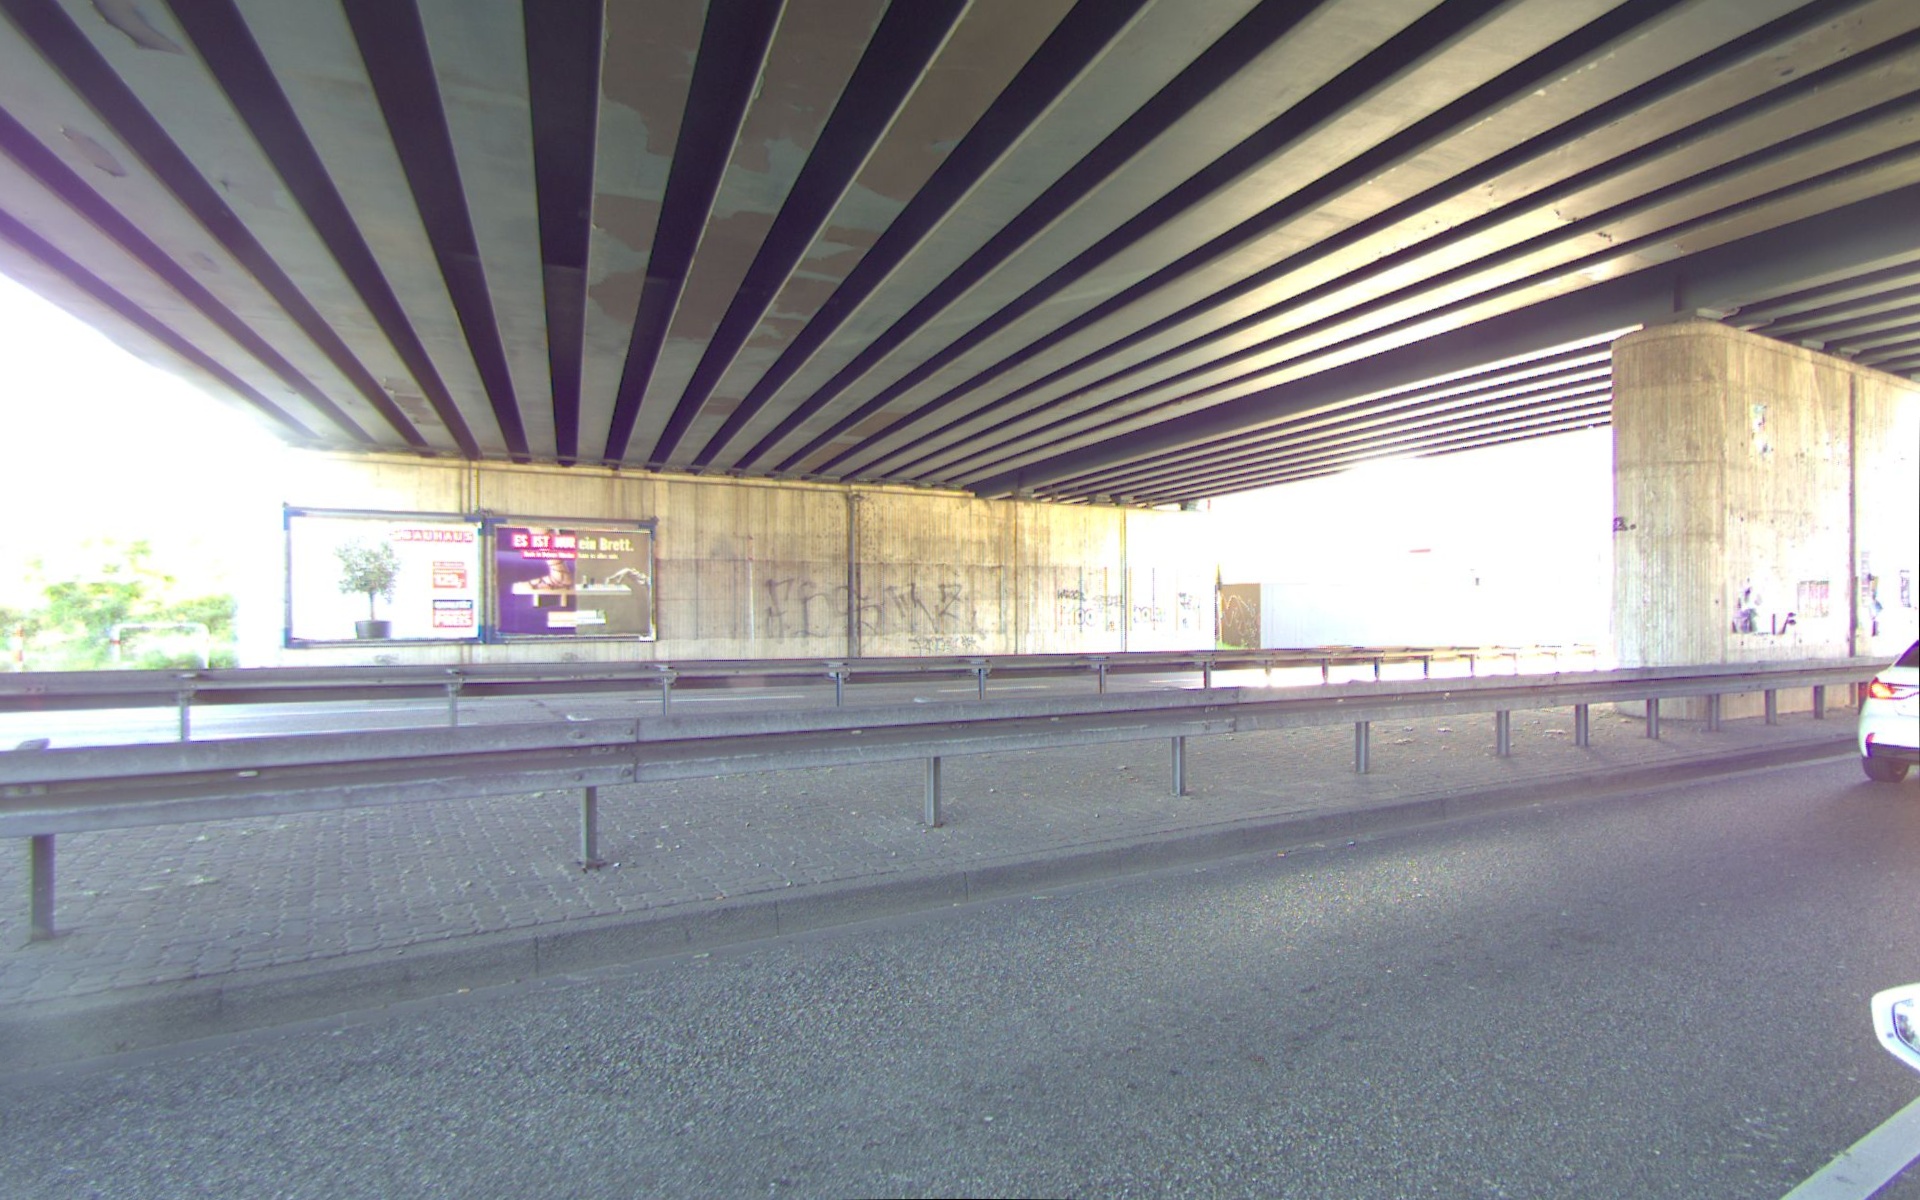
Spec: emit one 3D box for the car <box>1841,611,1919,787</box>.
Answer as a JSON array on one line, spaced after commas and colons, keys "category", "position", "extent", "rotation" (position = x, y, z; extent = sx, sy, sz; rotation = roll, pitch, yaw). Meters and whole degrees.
[{"category": "car", "position": [9.627, 0.847, 8.887], "extent": [3.769, 1.429, 1.684], "rotation": [1, 0, -31]}]
